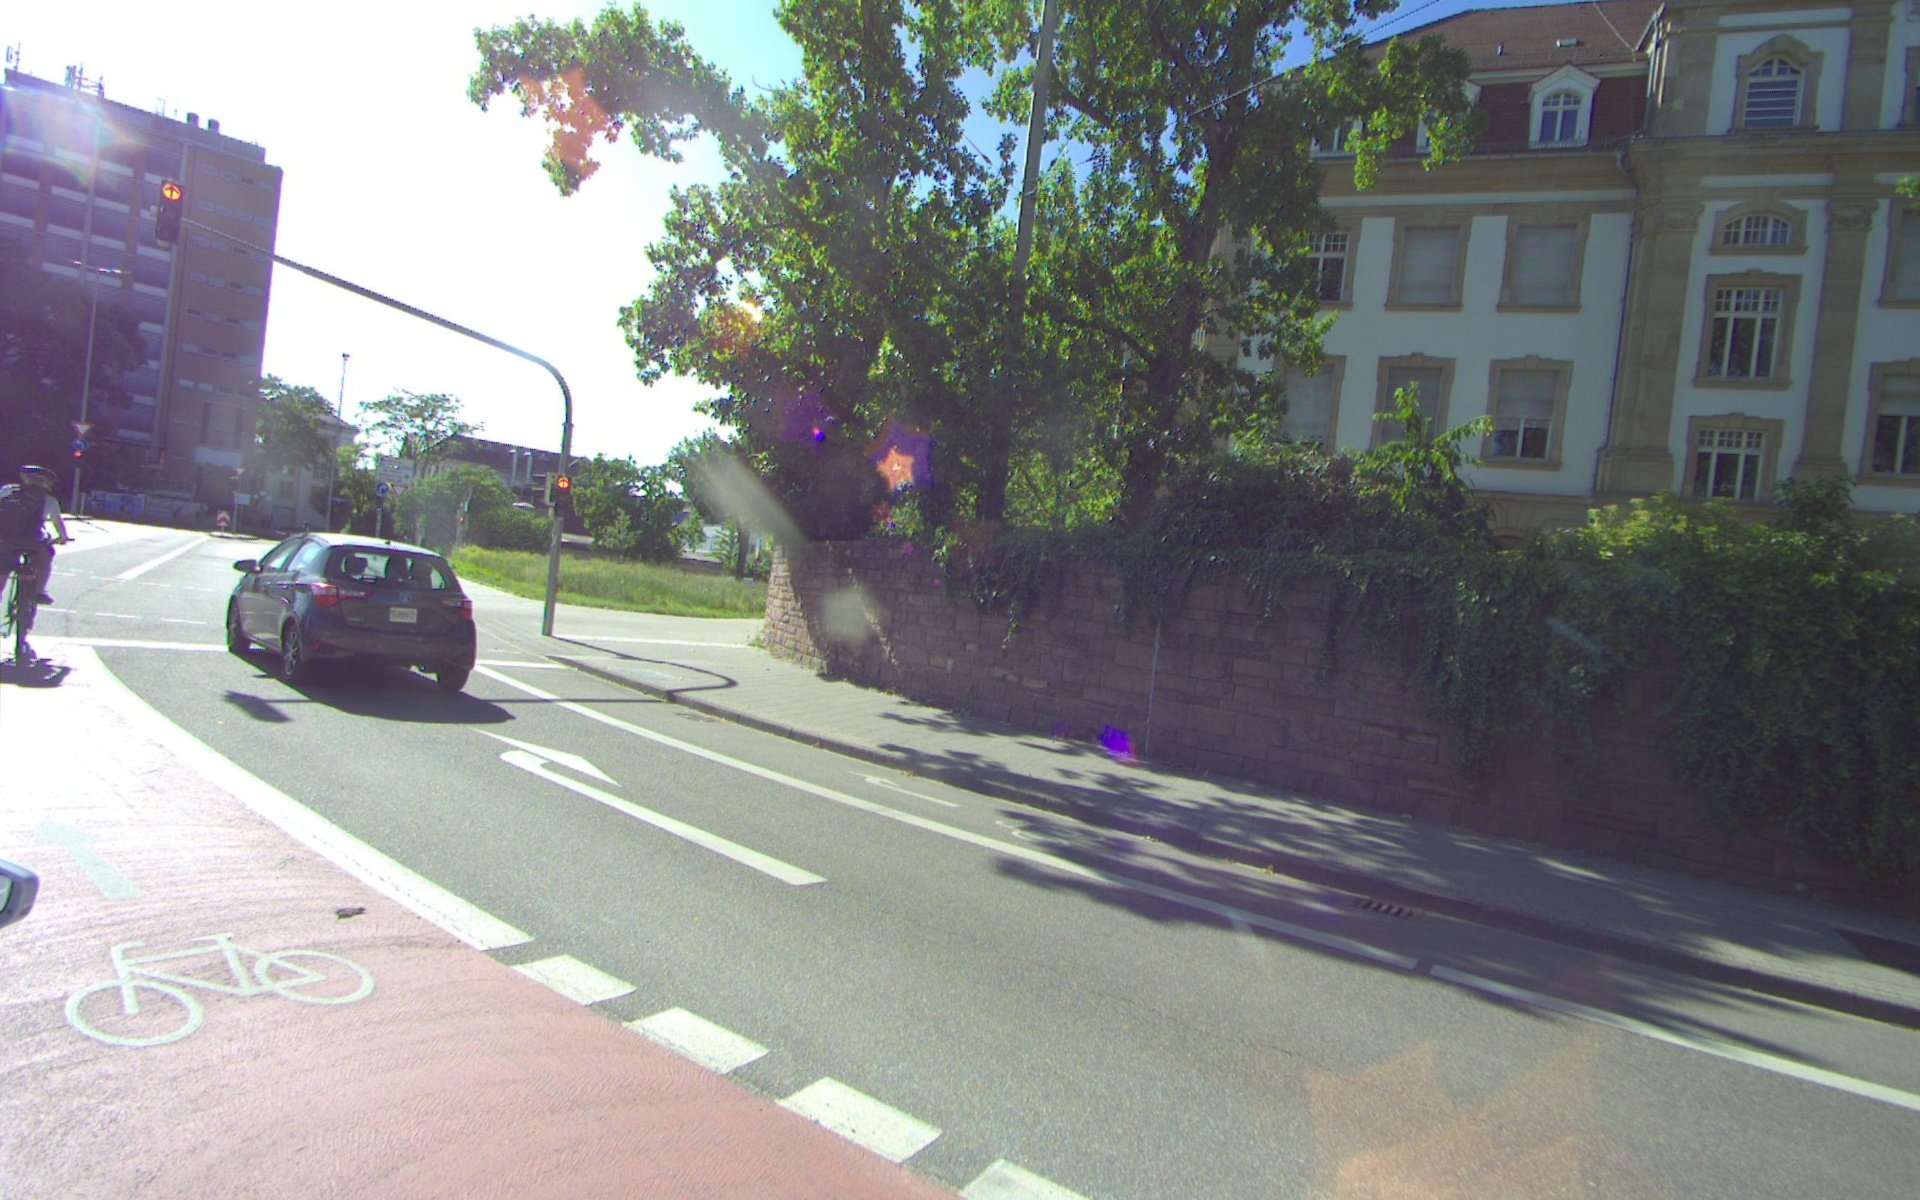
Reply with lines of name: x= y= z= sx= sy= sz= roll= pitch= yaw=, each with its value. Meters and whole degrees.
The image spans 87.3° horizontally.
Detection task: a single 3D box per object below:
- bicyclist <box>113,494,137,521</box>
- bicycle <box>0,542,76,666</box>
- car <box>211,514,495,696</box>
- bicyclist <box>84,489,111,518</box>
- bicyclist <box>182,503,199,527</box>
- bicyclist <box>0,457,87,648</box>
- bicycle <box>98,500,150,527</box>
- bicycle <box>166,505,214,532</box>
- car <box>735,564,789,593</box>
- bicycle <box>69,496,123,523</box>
bicyclist: x=-63.200 y=-6.973 z=76.142 sx=1.149 sy=1.818 sz=0.877 roll=7 pitch=-1 yaw=-32
bicycle: x=-8.864 y=-0.005 z=9.454 sx=0.720 sy=0.971 sz=1.861 roll=8 pitch=-1 yaw=-43
car: x=-6.845 y=0.001 z=11.193 sx=3.611 sy=1.560 sz=1.752 roll=6 pitch=-1 yaw=45
bicyclist: x=-63.372 y=-7.091 z=73.928 sx=1.198 sy=1.919 sz=0.877 roll=7 pitch=-1 yaw=-32
bicyclist: x=-59.889 y=-6.592 z=78.308 sx=0.852 sy=1.712 sz=0.877 roll=7 pitch=-1 yaw=-32
bicyclist: x=-8.725 y=-0.456 z=9.365 sx=0.719 sy=1.645 sz=1.042 roll=8 pitch=0 yaw=-43
bicycle: x=-63.256 y=-6.529 z=76.139 sx=2.783 sy=1.559 sz=0.877 roll=8 pitch=-2 yaw=-32
bicycle: x=-59.931 y=-6.330 z=78.316 sx=2.783 sy=1.559 sz=0.877 roll=8 pitch=-2 yaw=-32
car: x=-18.015 y=-1.923 z=91.454 sx=4.308 sy=2.037 sz=1.989 roll=7 pitch=-2 yaw=-25
bicycle: x=-63.438 y=-6.633 z=73.929 sx=2.783 sy=1.559 sz=0.877 roll=8 pitch=-2 yaw=-32
